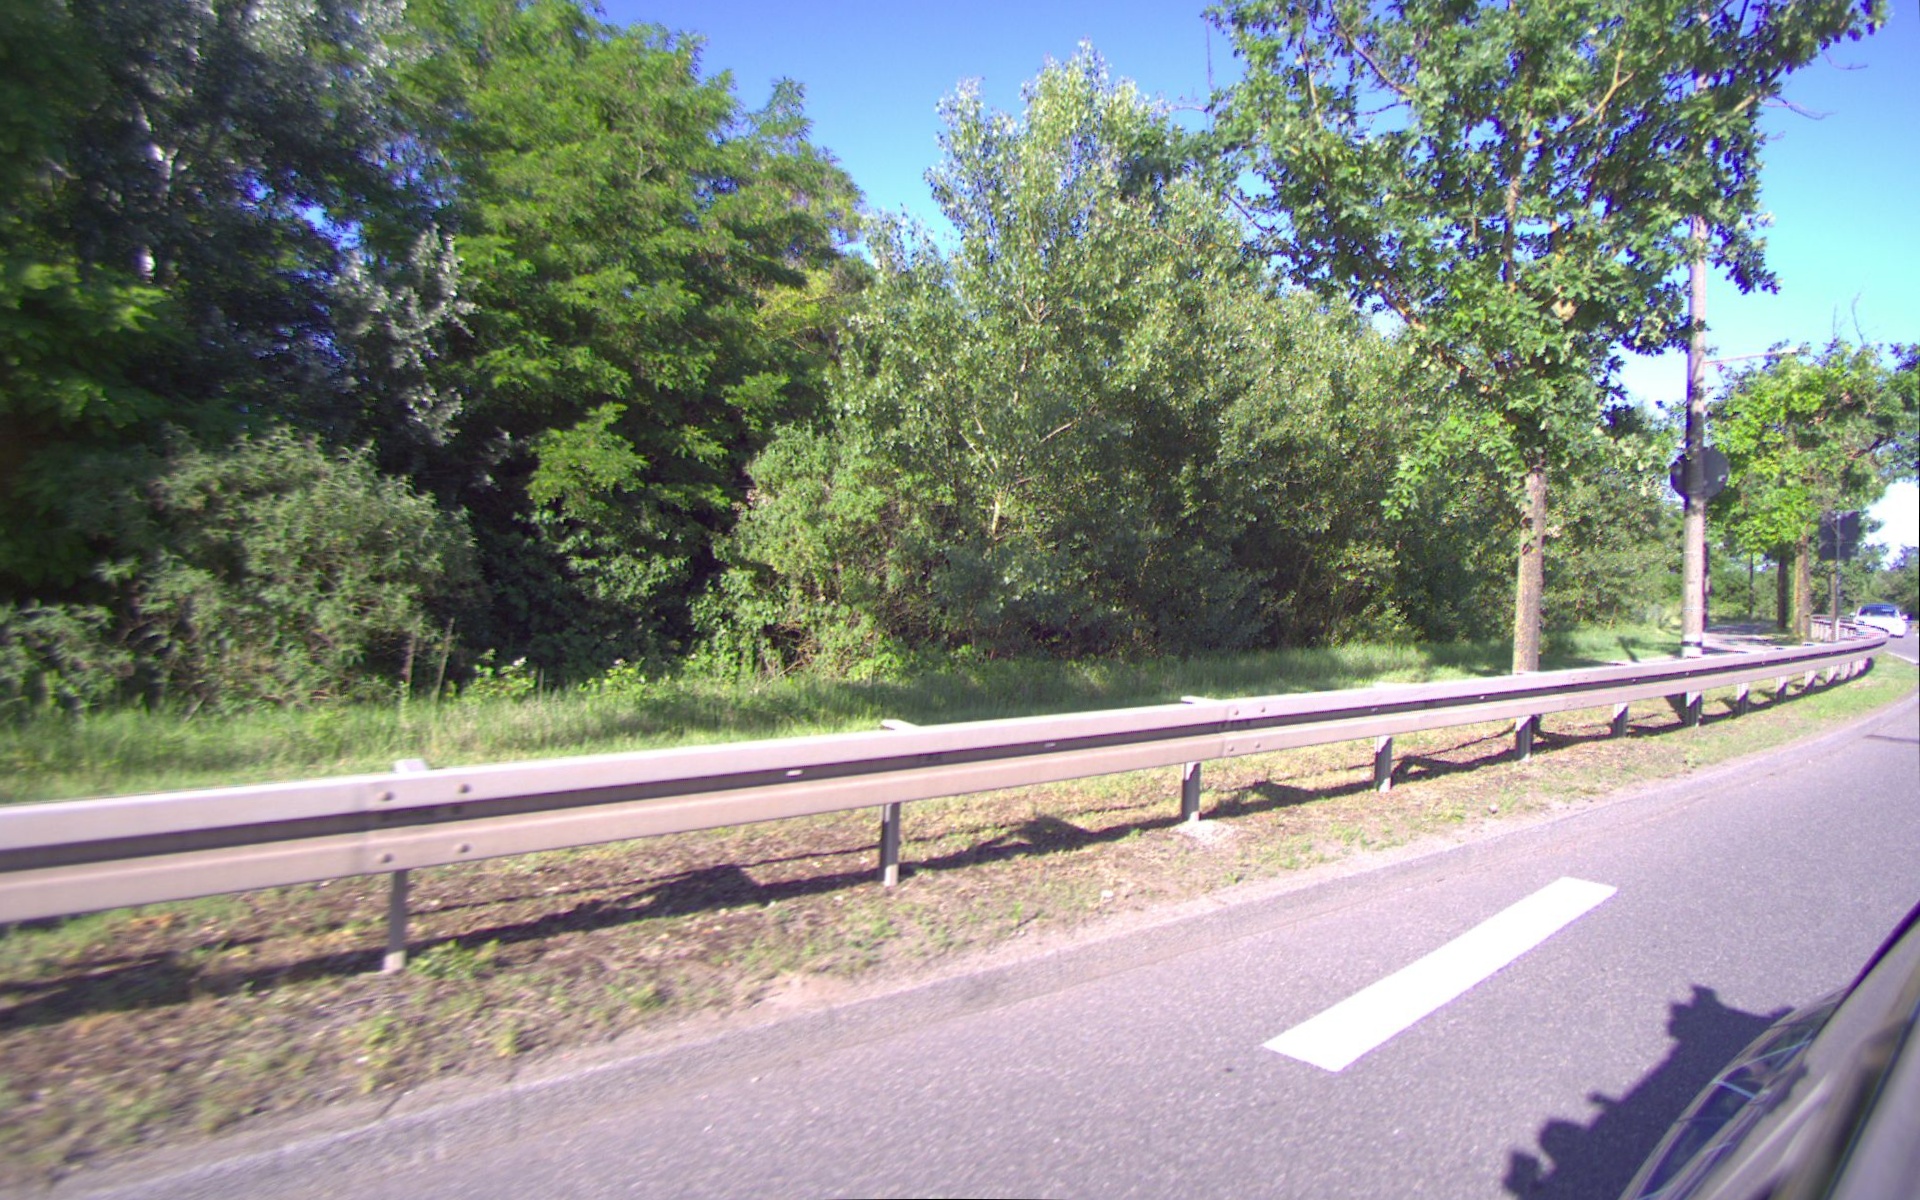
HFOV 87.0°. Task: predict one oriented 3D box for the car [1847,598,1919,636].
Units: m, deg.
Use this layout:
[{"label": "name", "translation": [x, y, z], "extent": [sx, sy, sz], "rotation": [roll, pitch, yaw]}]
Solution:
[{"label": "car", "translation": [44.145, 0.785, 48.464], "extent": [2.140, 1.586, 4.141], "rotation": [5, 3, 37]}]
